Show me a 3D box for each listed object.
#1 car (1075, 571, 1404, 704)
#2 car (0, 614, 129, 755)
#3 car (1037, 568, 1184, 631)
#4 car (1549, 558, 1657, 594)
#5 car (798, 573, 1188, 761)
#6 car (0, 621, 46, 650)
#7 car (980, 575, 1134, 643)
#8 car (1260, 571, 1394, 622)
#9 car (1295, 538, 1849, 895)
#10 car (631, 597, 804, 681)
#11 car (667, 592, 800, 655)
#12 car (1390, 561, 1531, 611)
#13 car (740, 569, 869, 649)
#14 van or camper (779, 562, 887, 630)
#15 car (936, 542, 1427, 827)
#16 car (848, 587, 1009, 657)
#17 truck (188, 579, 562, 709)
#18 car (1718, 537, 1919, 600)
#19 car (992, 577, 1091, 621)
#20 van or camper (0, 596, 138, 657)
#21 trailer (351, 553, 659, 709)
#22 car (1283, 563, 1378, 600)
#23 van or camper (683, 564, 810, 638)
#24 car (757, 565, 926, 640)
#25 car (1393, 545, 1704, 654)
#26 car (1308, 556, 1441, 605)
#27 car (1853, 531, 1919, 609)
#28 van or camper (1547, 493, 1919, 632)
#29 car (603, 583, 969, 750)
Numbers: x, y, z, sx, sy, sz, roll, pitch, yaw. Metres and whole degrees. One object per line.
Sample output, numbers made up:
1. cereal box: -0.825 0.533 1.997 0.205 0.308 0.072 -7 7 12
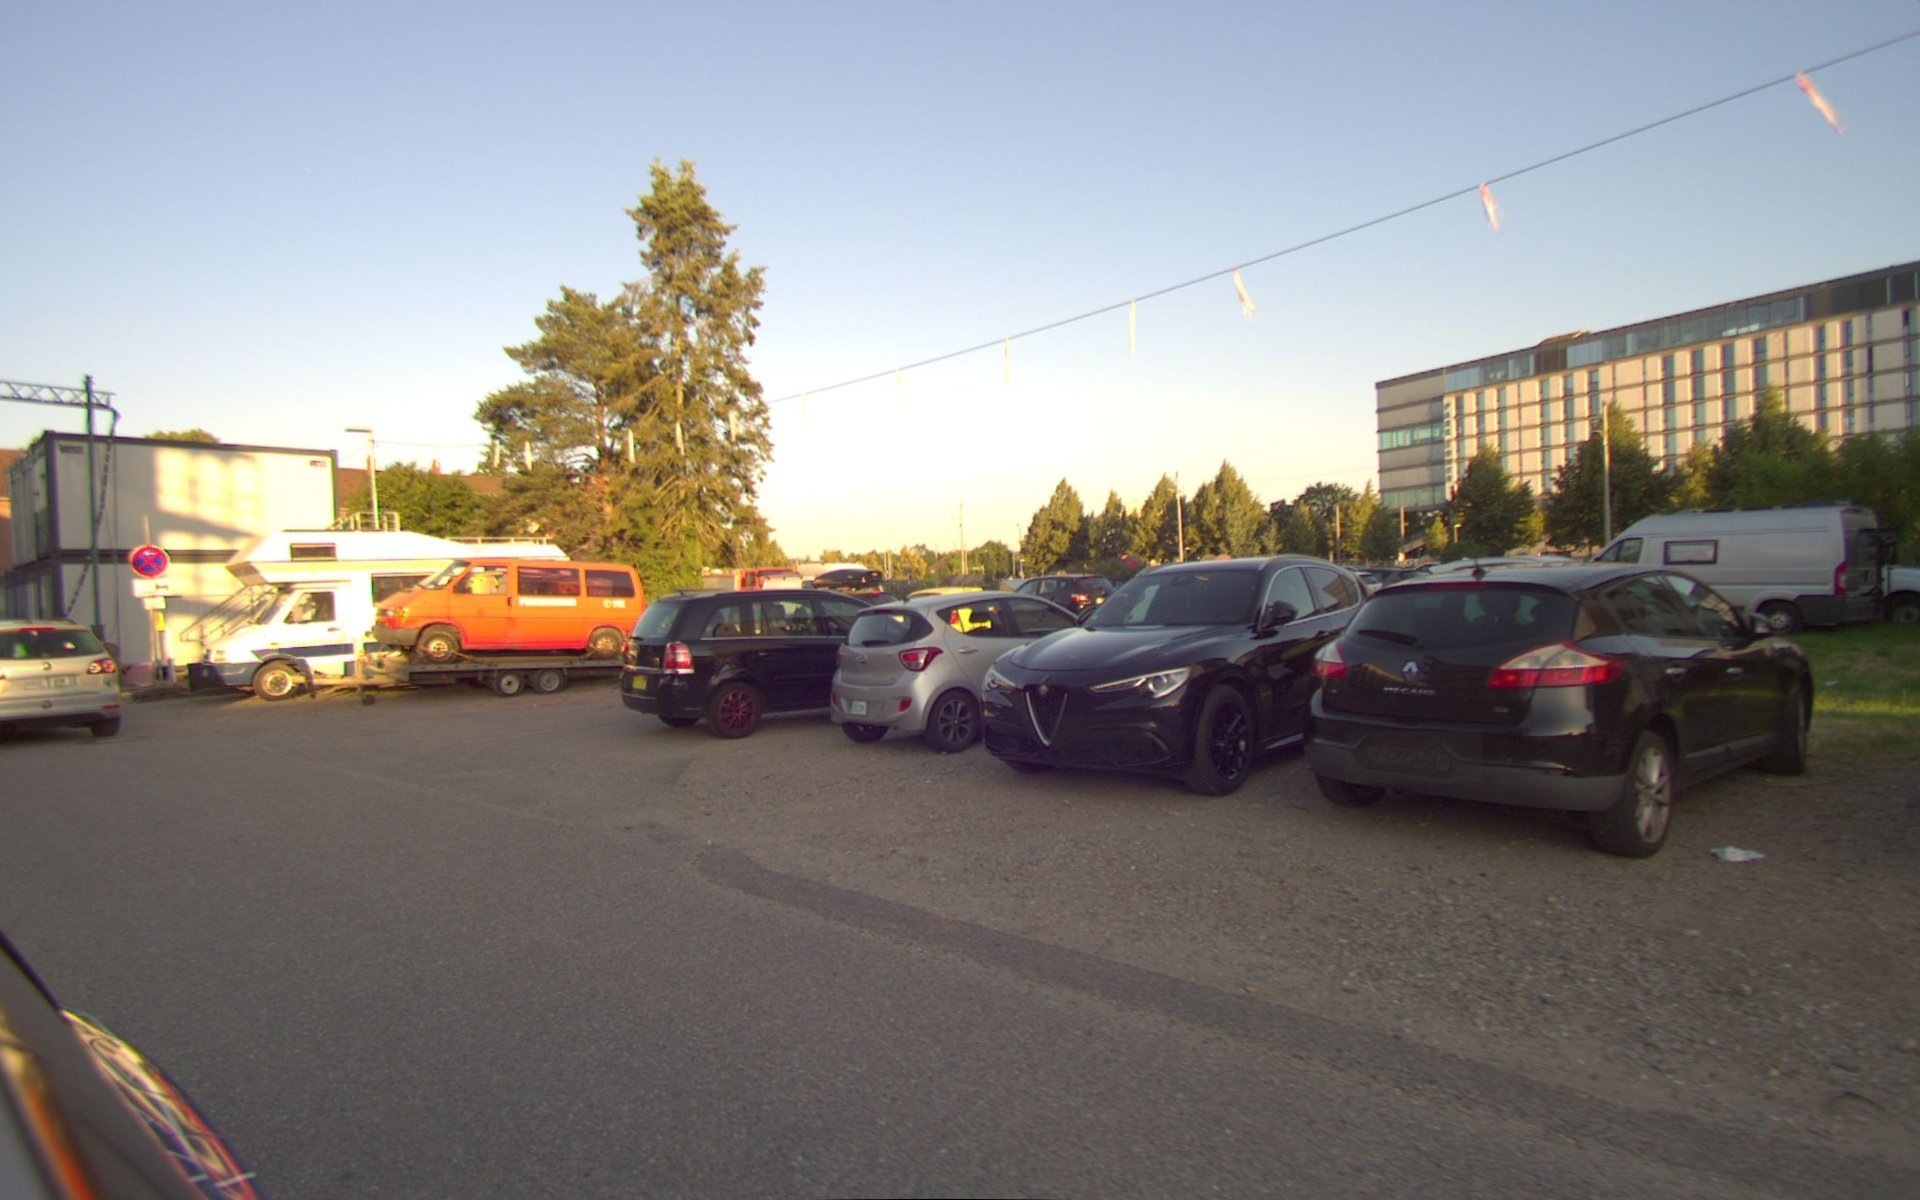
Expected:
1. car: 3.700 0.444 14.087 1.819 1.534 4.161 -2 1 -36
2. car: -13.061 1.070 13.625 4.273 1.632 1.657 -2 1 33
3. car: 4.323 -0.005 29.441 1.821 1.681 3.943 -2 1 -42
4. car: 30.471 -1.126 48.055 1.636 1.551 3.949 -2 1 -33
5. car: 0.451 0.596 10.897 3.876 1.532 1.812 -4 0 -38
6. car: -56.760 2.145 59.990 1.810 1.527 3.676 -2 3 44
7. car: 2.572 0.250 27.542 1.821 1.681 3.943 -2 1 -42
8. car: 12.078 -0.111 33.509 1.636 1.551 3.949 -2 1 -33
9. car: 3.894 0.433 6.181 3.875 1.528 1.646 -2 2 -38
10. car: -5.165 0.769 21.245 1.821 1.534 3.943 -2 1 -42
11. car: -6.684 0.728 29.492 1.820 1.580 4.831 -2 -2 -38
12. car: 19.742 -0.512 40.142 1.656 1.856 4.852 -2 1 -31
13. car: -4.886 0.329 31.240 1.819 2.165 4.832 -2 -2 -36
14. van or camper: -5.619 -0.147 44.144 2.173 2.728 5.762 -2 1 -35
15. car: 1.919 0.457 7.910 4.043 1.640 1.822 -2 0 -45
16. car: -0.833 0.510 24.860 1.821 1.534 3.943 -2 1 -42
17. truck: -11.296 0.719 19.950 5.943 2.058 2.357 -3 1 -45
18. car: 21.460 -0.758 25.327 1.462 1.419 3.666 -2 1 -32
19. car: 3.851 -0.024 48.919 2.023 1.951 5.120 -2 1 -33
20. van or camper: -47.151 1.384 52.674 2.408 2.659 6.384 -2 3 44
21. trailer: -8.352 0.419 18.835 4.734 2.450 2.137 -4 3 -41
22. car: 16.591 -0.795 45.501 1.541 1.536 3.887 -2 1 -31
23. van or camper: -8.841 0.056 41.566 5.803 2.791 2.230 -1 1 45
24. car: -2.774 0.053 23.029 1.821 1.534 3.943 -2 1 -42
25. car: 10.081 -0.009 17.701 1.818 1.643 4.329 -2 1 -32
26. car: 14.175 -0.651 34.790 1.636 1.551 3.949 -2 1 -33
27. car: 26.286 -0.821 26.435 1.966 2.029 4.012 -2 0 -31
28. van or camper: 15.275 -0.653 20.435 1.818 2.411 5.700 -2 1 -32
29. car: -2.038 0.677 12.394 3.985 1.632 1.853 -2 1 -38
